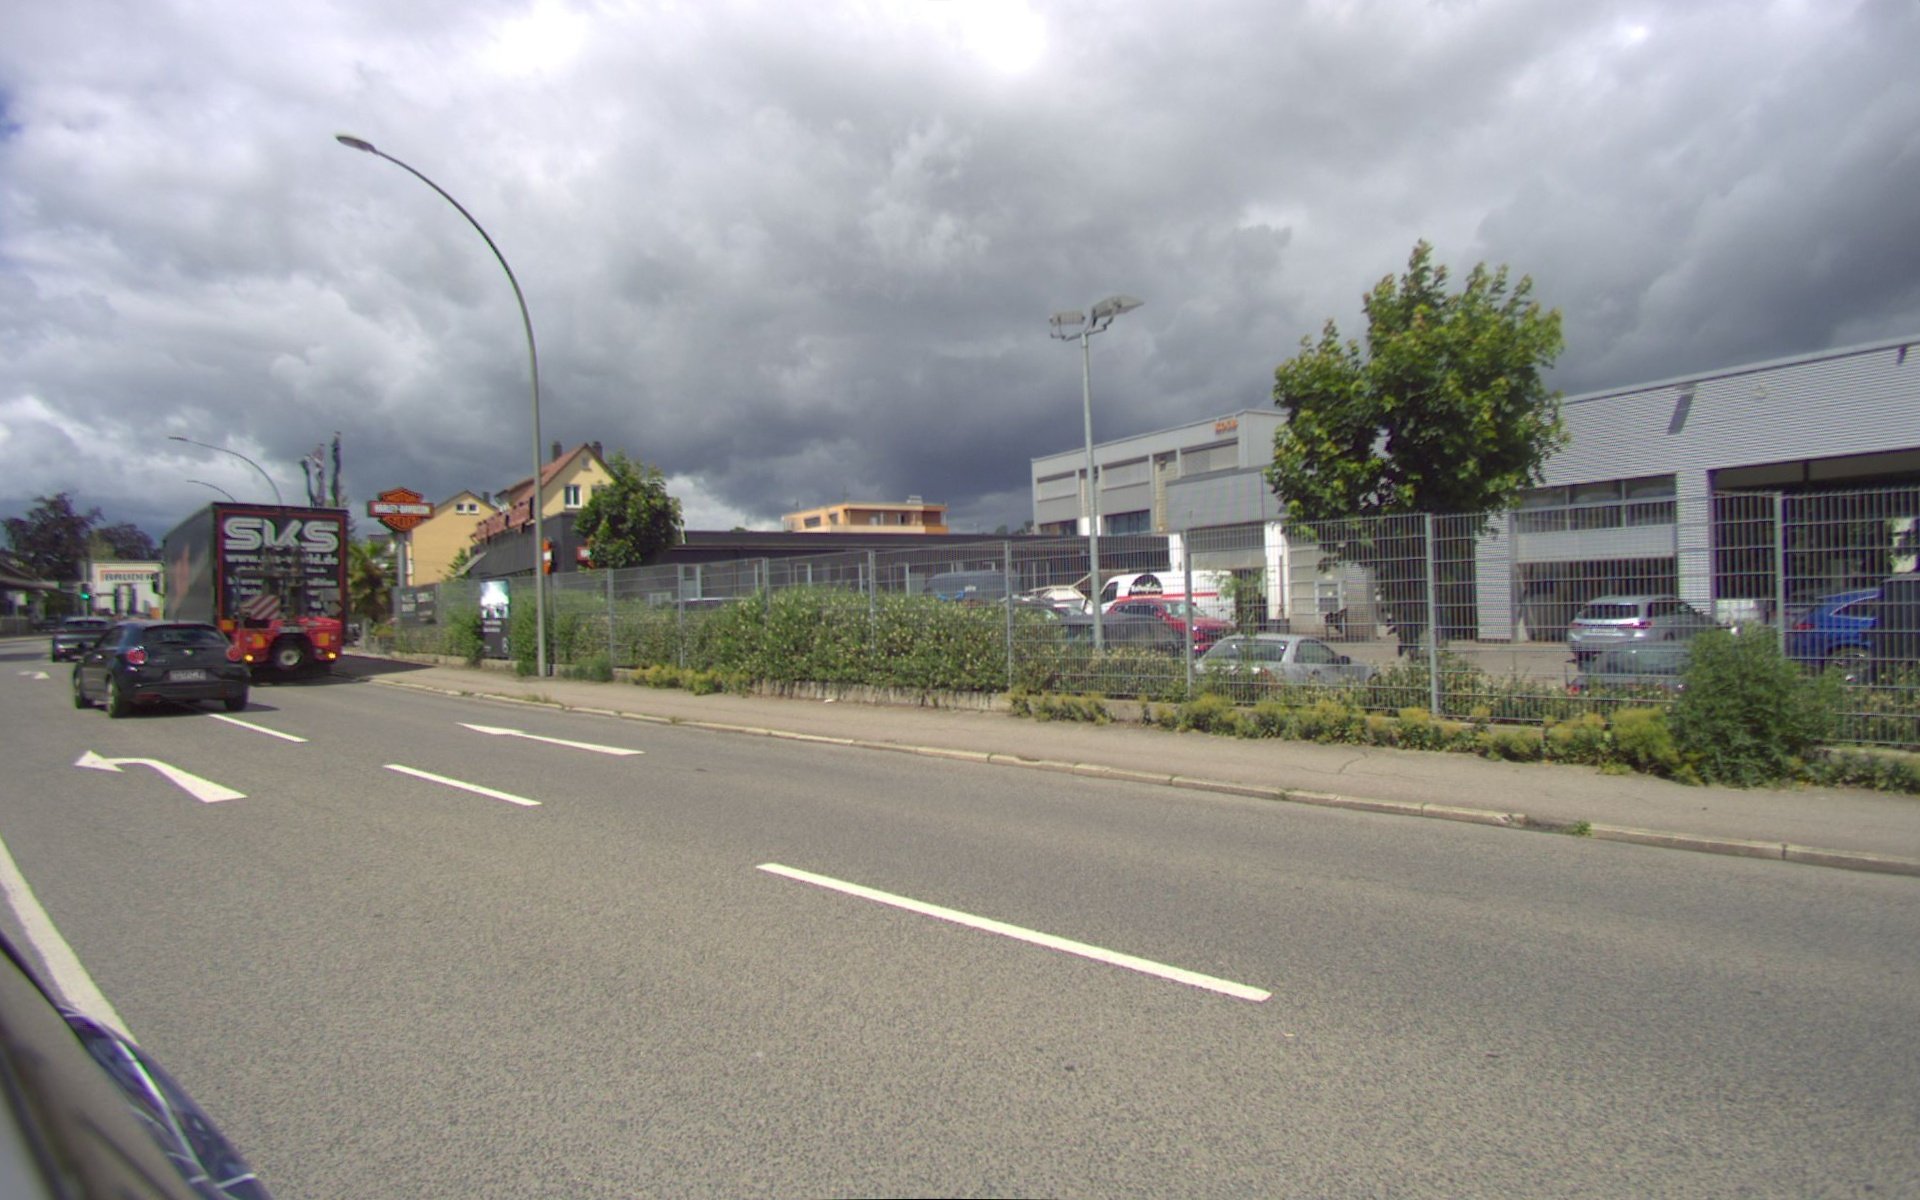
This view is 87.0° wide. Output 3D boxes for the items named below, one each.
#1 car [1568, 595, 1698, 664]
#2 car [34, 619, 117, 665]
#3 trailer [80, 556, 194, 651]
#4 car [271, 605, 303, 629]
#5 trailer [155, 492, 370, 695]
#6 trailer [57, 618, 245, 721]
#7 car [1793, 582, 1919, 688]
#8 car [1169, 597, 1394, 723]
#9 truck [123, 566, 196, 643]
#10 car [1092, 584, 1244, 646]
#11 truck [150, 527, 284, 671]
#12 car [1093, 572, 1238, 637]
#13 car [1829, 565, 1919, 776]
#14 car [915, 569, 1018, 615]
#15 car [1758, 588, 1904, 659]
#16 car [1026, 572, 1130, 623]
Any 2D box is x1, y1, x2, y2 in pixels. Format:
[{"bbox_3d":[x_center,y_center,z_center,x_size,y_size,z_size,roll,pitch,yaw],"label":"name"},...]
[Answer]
[{"bbox_3d":[14.989,0.605,22.503,3.286,1.367,1.584,-2,0,-41],"label":"car"},{"bbox_3d":[-30.335,1.376,34.652,4.255,1.474,1.819,-1,-1,44],"label":"car"},{"bbox_3d":[-41.635,0.165,51.719,2.733,4.176,15.393,-1,0,-33],"label":"trailer"},{"bbox_3d":[-49.409,1.248,74.356,1.784,1.633,3.631,-2,0,-32],"label":"car"},{"bbox_3d":[-19.202,-0.086,27.107,2.765,4.083,15.576,-2,0,-42],"label":"trailer"},{"bbox_3d":[-12.979,1.028,16.154,3.997,1.434,1.630,-2,-2,41],"label":"trailer"},{"bbox_3d":[15.368,0.495,15.257,1.910,1.559,4.092,-2,0,-42],"label":"car"},{"bbox_3d":[4.508,0.706,13.846,1.685,1.404,3.816,-1,1,38],"label":"car"},{"bbox_3d":[-45.416,0.220,57.563,2.734,4.150,5.000,-1,0,-33],"label":"truck"},{"bbox_3d":[5.806,0.386,28.721,1.699,1.617,4.161,-2,1,-36],"label":"car"},{"bbox_3d":[-23.666,-0.017,32.089,2.765,4.083,6.509,-2,0,-42],"label":"truck"},{"bbox_3d":[6.475,0.107,32.431,1.754,1.914,4.744,-2,1,-32],"label":"car"},{"bbox_3d":[9.562,0.522,9.349,2.173,1.713,4.146,-1,1,43],"label":"car"},{"bbox_3d":[0.180,-0.305,37.635,1.699,1.617,4.161,-2,1,-36],"label":"car"},{"bbox_3d":[19.064,0.473,22.135,3.282,1.367,1.585,-2,0,-34],"label":"car"},{"bbox_3d":[4.912,-0.124,42.537,1.967,2.029,4.349,-2,1,-34],"label":"car"}]
